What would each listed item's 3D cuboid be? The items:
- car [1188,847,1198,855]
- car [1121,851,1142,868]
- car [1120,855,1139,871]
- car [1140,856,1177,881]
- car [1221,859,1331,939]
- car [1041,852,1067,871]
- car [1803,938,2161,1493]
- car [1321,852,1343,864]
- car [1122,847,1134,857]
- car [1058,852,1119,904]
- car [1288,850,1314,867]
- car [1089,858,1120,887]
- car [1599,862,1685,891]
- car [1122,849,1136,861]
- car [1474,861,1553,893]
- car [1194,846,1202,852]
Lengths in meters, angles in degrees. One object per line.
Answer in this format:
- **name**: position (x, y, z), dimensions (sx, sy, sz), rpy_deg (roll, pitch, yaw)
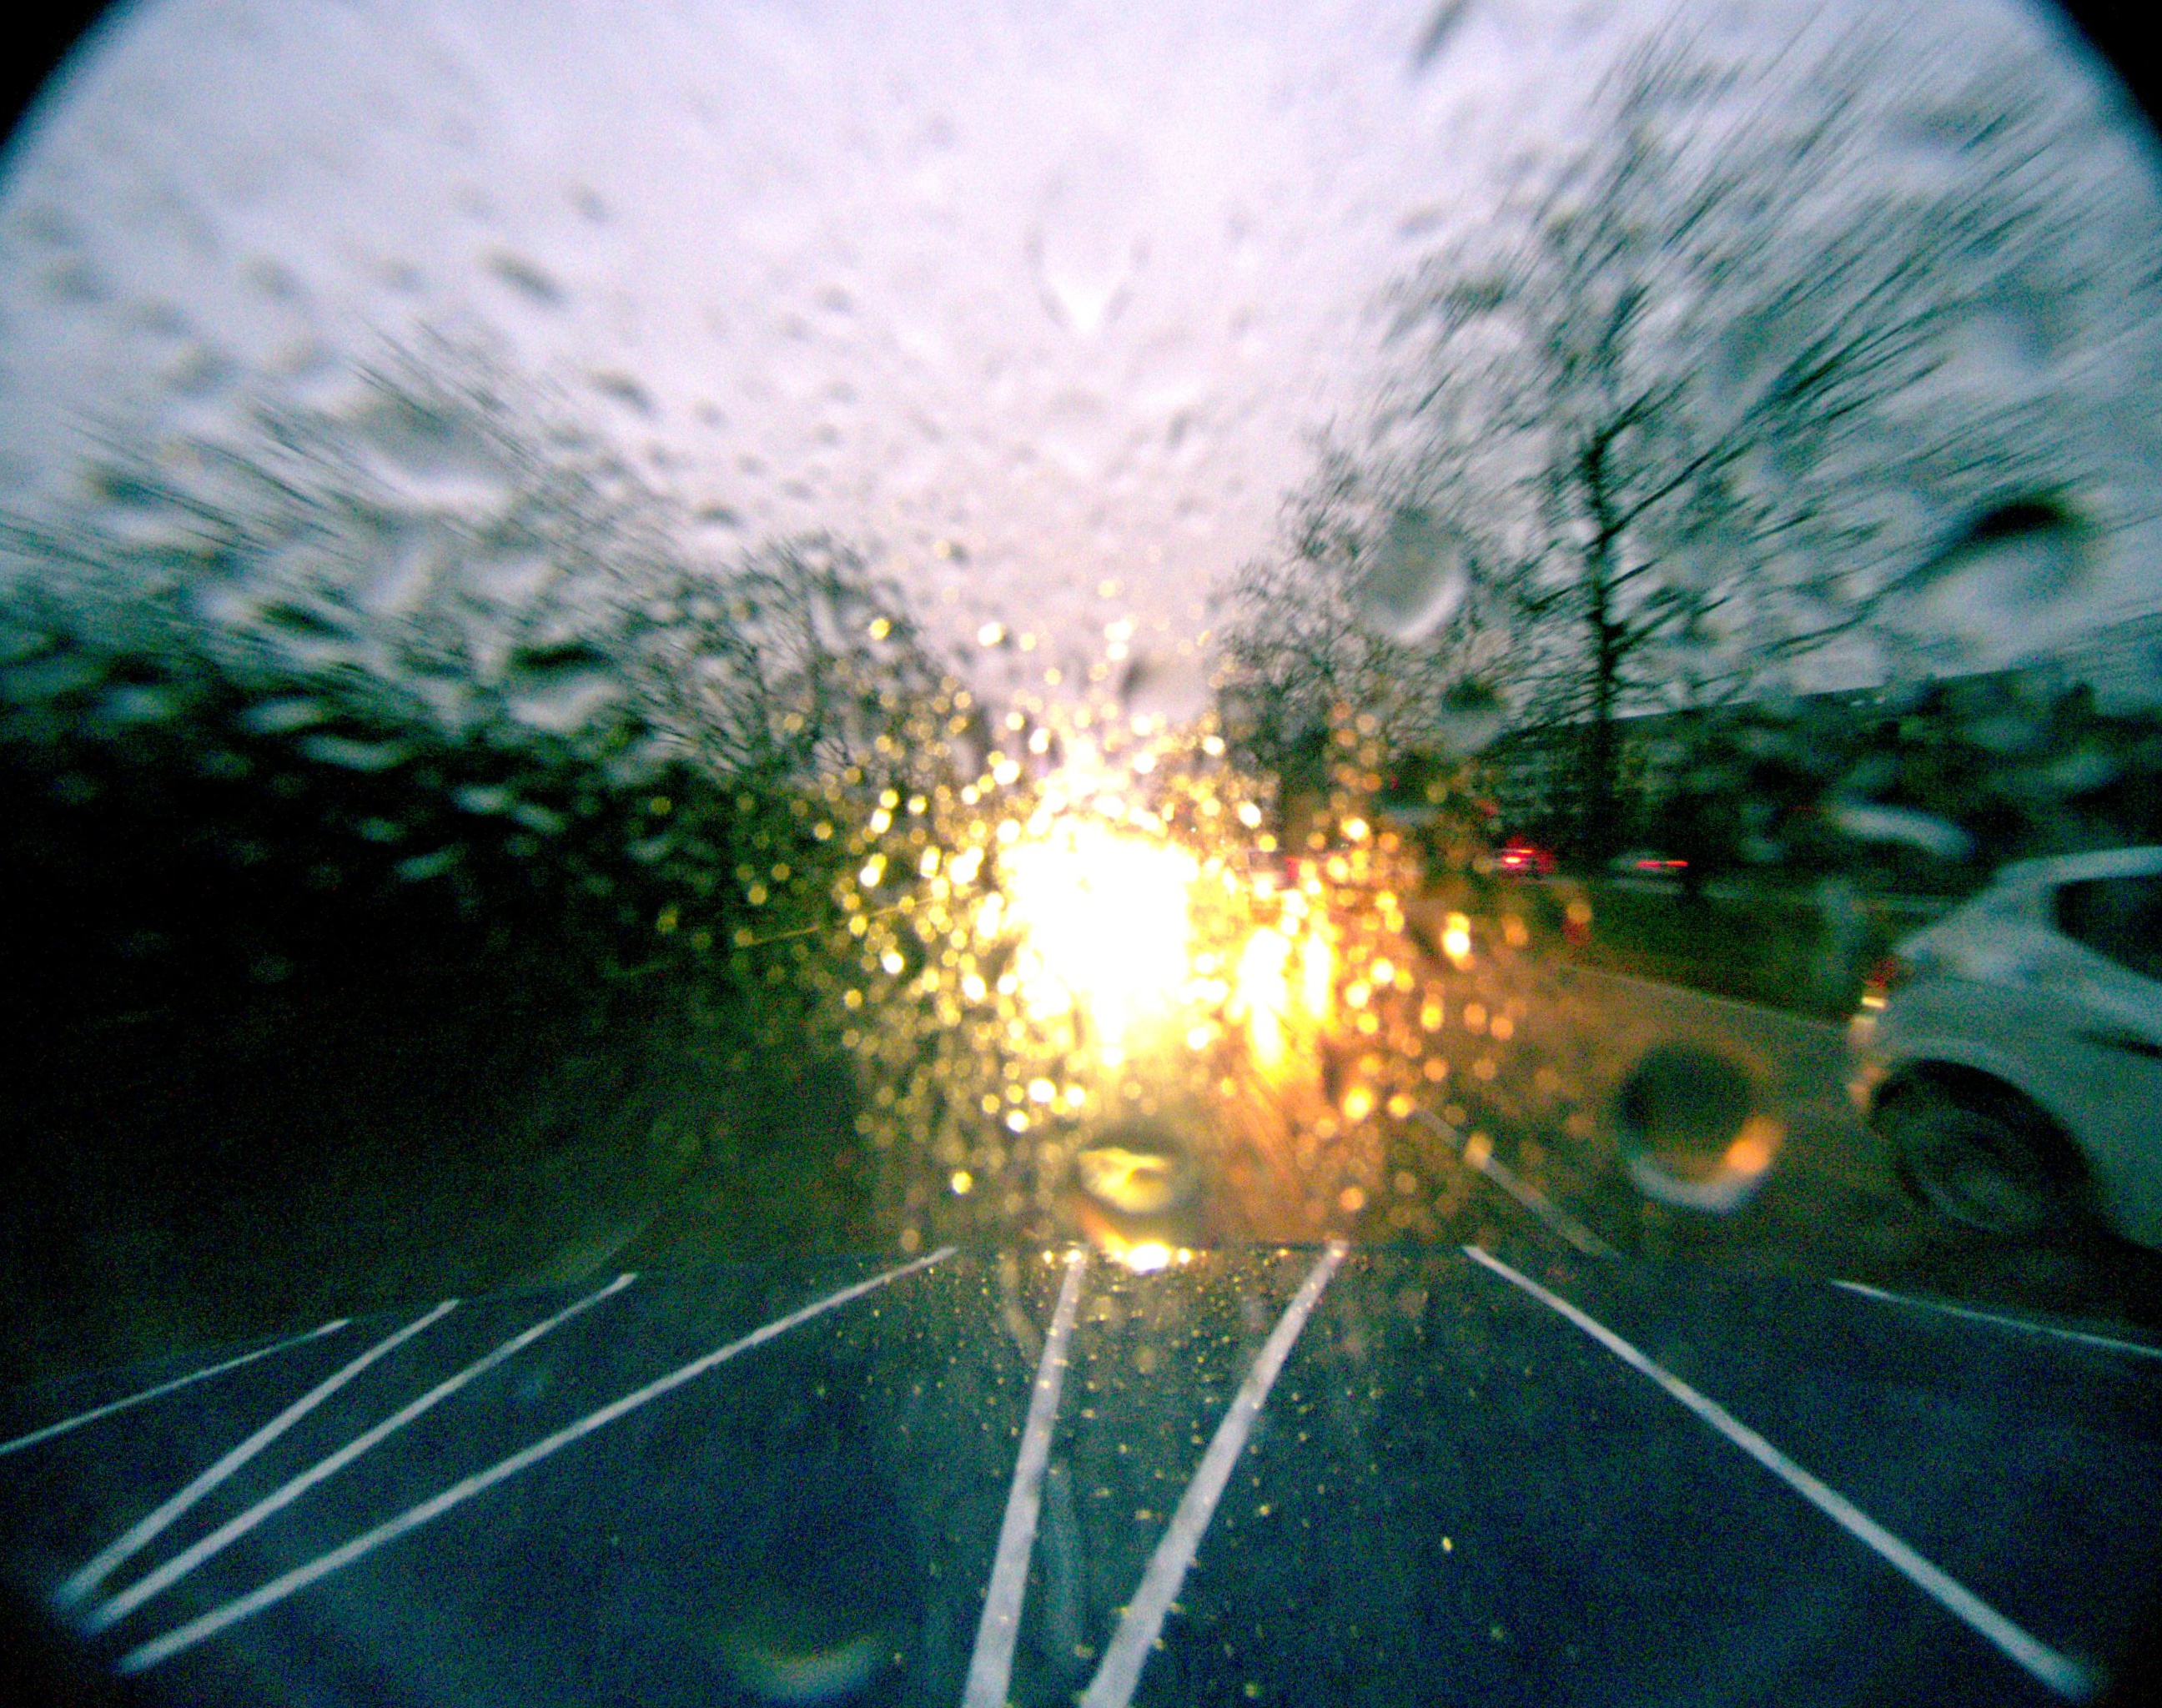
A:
- **car**: position (23.084, -0.630, 156.436), dimensions (1.573, 1.495, 4.000), rpy_deg (-1, 1, 2)
- **car**: position (4.457, 0.487, 67.299), dimensions (1.697, 1.327, 3.999), rpy_deg (-1, 1, 2)
- **car**: position (5.369, 1.031, 84.297), dimensions (1.852, 1.610, 3.951), rpy_deg (-1, 1, 2)
- **car**: position (4.973, 0.910, 49.320), dimensions (2.026, 1.522, 4.145), rpy_deg (0, 1, 1)
- **car**: position (4.496, 0.963, 18.165), dimensions (1.765, 1.590, 4.165), rpy_deg (0, 1, 3)
- **car**: position (-2.088, 0.579, 59.989), dimensions (1.728, 1.426, 3.791), rpy_deg (0, 1, 2)
- **car**: position (3.861, 1.087, 1.079), dimensions (1.728, 1.432, 4.226), rpy_deg (1, 0, 2)
- **car**: position (31.043, 0.512, 94.017), dimensions (1.752, 1.387, 4.301), rpy_deg (0, 1, 6)
- **car**: position (8.076, -0.336, 130.089), dimensions (1.852, 1.610, 3.951), rpy_deg (-1, 1, 2)
- **car**: position (0.299, 0.729, 25.058), dimensions (1.830, 1.524, 4.000), rpy_deg (0, 1, 2)
- **car**: position (22.837, 0.484, 78.949), dimensions (1.621, 1.672, 3.981), rpy_deg (0, 1, 2)
- **car**: position (1.451, 1.070, 45.006), dimensions (1.728, 1.573, 3.791), rpy_deg (0, 1, 3)
- **car**: position (28.686, 1.137, 39.041), dimensions (1.582, 1.294, 4.104), rpy_deg (0, 1, 4)
- **car**: position (6.893, 0.146, 108.866), dimensions (1.852, 1.610, 3.951), rpy_deg (-1, 1, 2)
- **car**: position (21.479, 1.087, 37.918), dimensions (1.752, 1.417, 3.978), rpy_deg (0, 1, 2)
- **car**: position (27.002, -1.090, 175.203), dimensions (1.541, 1.285, 4.000), rpy_deg (0, 1, 2)
